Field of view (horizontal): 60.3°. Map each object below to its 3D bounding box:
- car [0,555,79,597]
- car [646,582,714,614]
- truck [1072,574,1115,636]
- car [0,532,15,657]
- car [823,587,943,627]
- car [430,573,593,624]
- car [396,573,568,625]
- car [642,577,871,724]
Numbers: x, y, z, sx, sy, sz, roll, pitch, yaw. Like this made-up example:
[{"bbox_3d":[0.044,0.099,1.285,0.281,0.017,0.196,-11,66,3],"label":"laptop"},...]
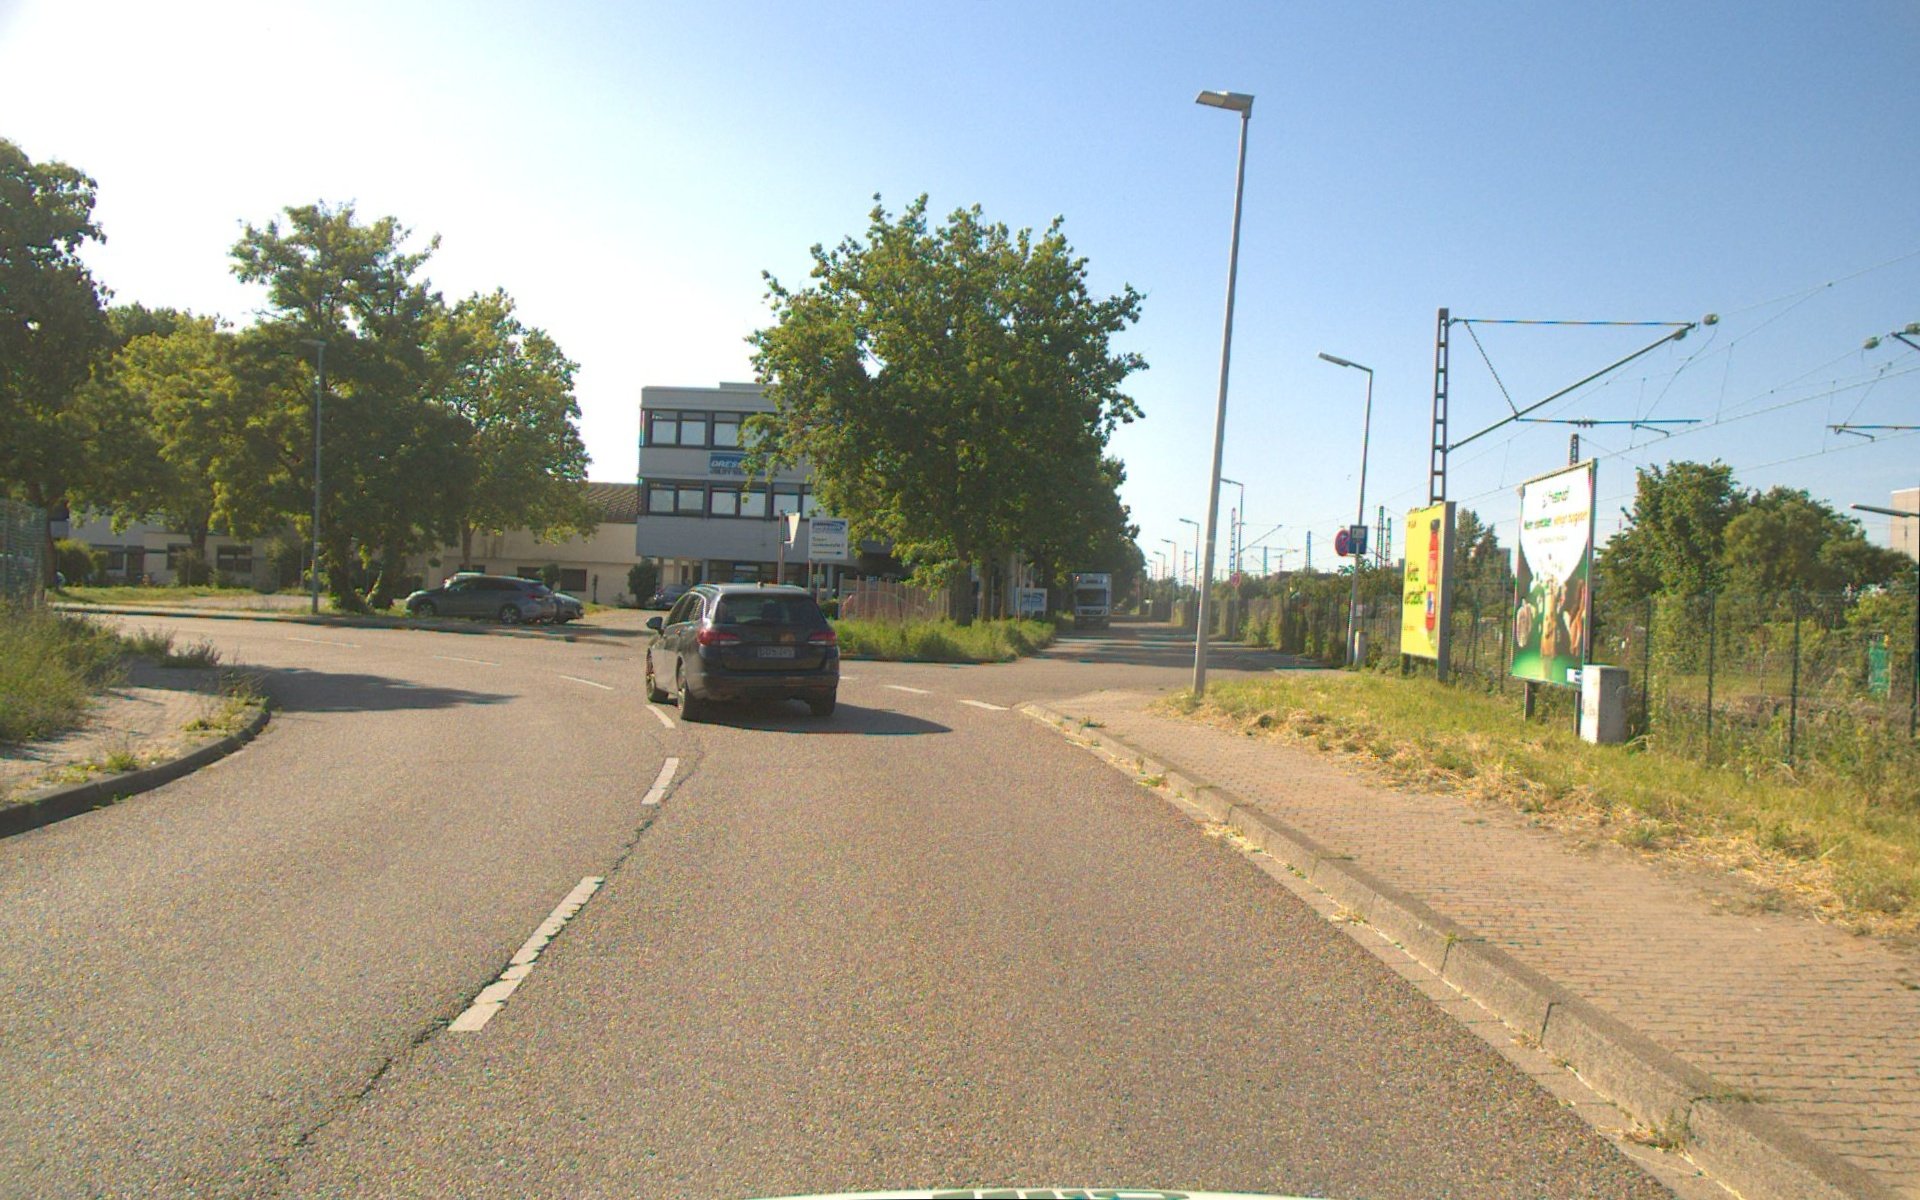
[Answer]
[{"bbox_3d":[-36.543,-0.963,63.442,4.807,1.510,2.001,2,0,16],"label":"car"},{"bbox_3d":[-14.192,-0.147,84.133,1.951,1.510,4.931,2,1,8],"label":"car"},{"bbox_3d":[9.190,0.342,114.928,2.558,3.953,13.537,3,0,3],"label":"truck"},{"bbox_3d":[-14.915,-0.150,21.320,1.807,1.677,4.379,2,0,41],"label":"car"},{"bbox_3d":[-3.321,0.294,71.586,4.806,1.510,2.002,2,1,10],"label":"car"},{"bbox_3d":[-14.920,-0.040,55.158,4.807,1.510,2.001,2,0,5],"label":"car"},{"bbox_3d":[-15.160,-0.041,52.564,4.807,1.451,2.001,2,0,5],"label":"car"},{"bbox_3d":[-2.547,0.506,19.661,1.912,1.514,4.543,1,1,-17],"label":"car"}]
